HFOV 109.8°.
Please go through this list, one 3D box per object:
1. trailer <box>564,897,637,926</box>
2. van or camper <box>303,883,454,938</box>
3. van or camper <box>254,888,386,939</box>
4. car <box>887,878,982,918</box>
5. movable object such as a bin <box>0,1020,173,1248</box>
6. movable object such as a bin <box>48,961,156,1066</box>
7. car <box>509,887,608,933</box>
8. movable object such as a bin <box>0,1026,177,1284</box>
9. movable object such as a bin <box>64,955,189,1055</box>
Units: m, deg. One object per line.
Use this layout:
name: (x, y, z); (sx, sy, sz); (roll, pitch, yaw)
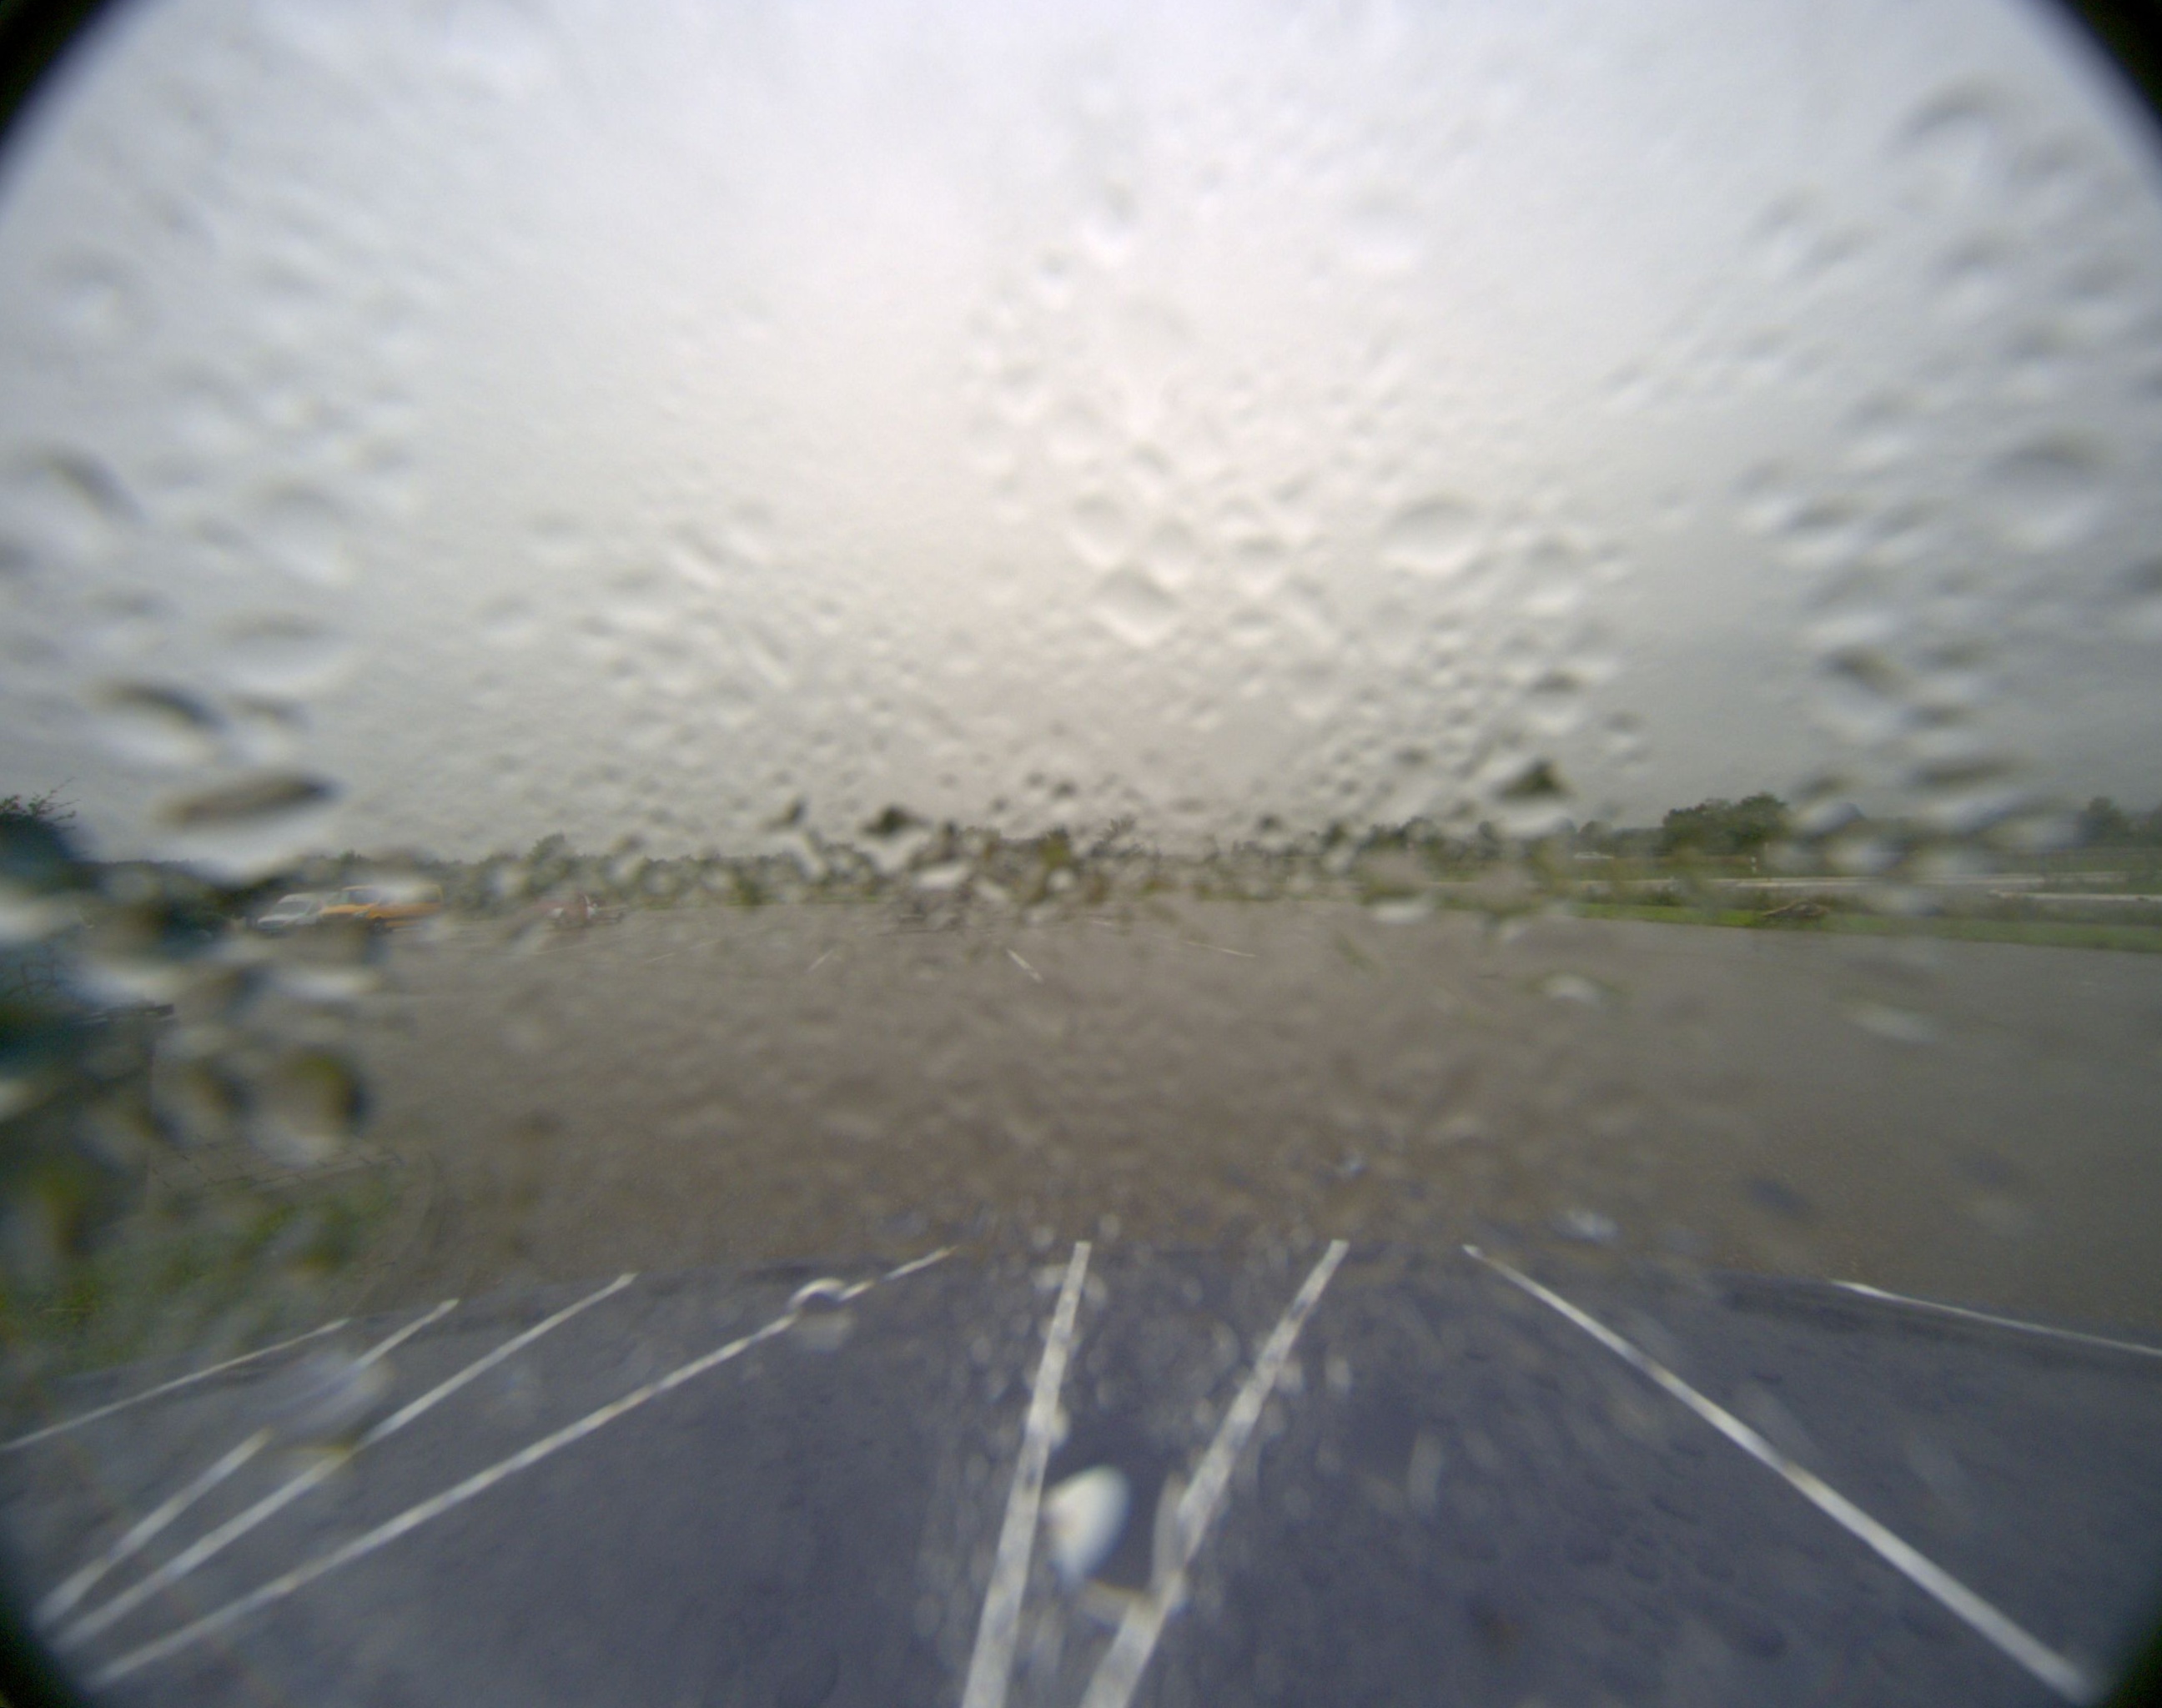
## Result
trailer: (-21.069, 2.486, 33.441); (1.589, 1.061, 3.029); (-3, -2, -8)
van or camper: (-32.809, 2.541, 35.858); (2.135, 2.233, 6.413); (-2, -1, -11)
van or camper: (-45.650, 3.457, 45.875); (2.000, 2.699, 7.063); (0, -1, -11)
car: (-5.859, 1.728, 30.157); (1.783, 1.425, 4.068); (-1, -1, -43)
movable object such as a bin: (-4.924, 1.340, 3.744); (0.451, 0.911, 0.487); (-2, -1, -35)
movable object such as a bin: (-9.608, 1.550, 7.471); (0.495, 0.914, 0.415); (-2, -1, -24)
car: (-20.440, 2.148, 29.931); (1.550, 1.546, 4.054); (-2, -1, -8)
movable object such as a bin: (-4.490, 1.306, 3.399); (0.451, 0.933, 0.487); (-2, -1, -35)
movable object such as a bin: (-10.171, 1.586, 8.119); (0.631, 0.914, 0.556); (-2, -1, -24)
